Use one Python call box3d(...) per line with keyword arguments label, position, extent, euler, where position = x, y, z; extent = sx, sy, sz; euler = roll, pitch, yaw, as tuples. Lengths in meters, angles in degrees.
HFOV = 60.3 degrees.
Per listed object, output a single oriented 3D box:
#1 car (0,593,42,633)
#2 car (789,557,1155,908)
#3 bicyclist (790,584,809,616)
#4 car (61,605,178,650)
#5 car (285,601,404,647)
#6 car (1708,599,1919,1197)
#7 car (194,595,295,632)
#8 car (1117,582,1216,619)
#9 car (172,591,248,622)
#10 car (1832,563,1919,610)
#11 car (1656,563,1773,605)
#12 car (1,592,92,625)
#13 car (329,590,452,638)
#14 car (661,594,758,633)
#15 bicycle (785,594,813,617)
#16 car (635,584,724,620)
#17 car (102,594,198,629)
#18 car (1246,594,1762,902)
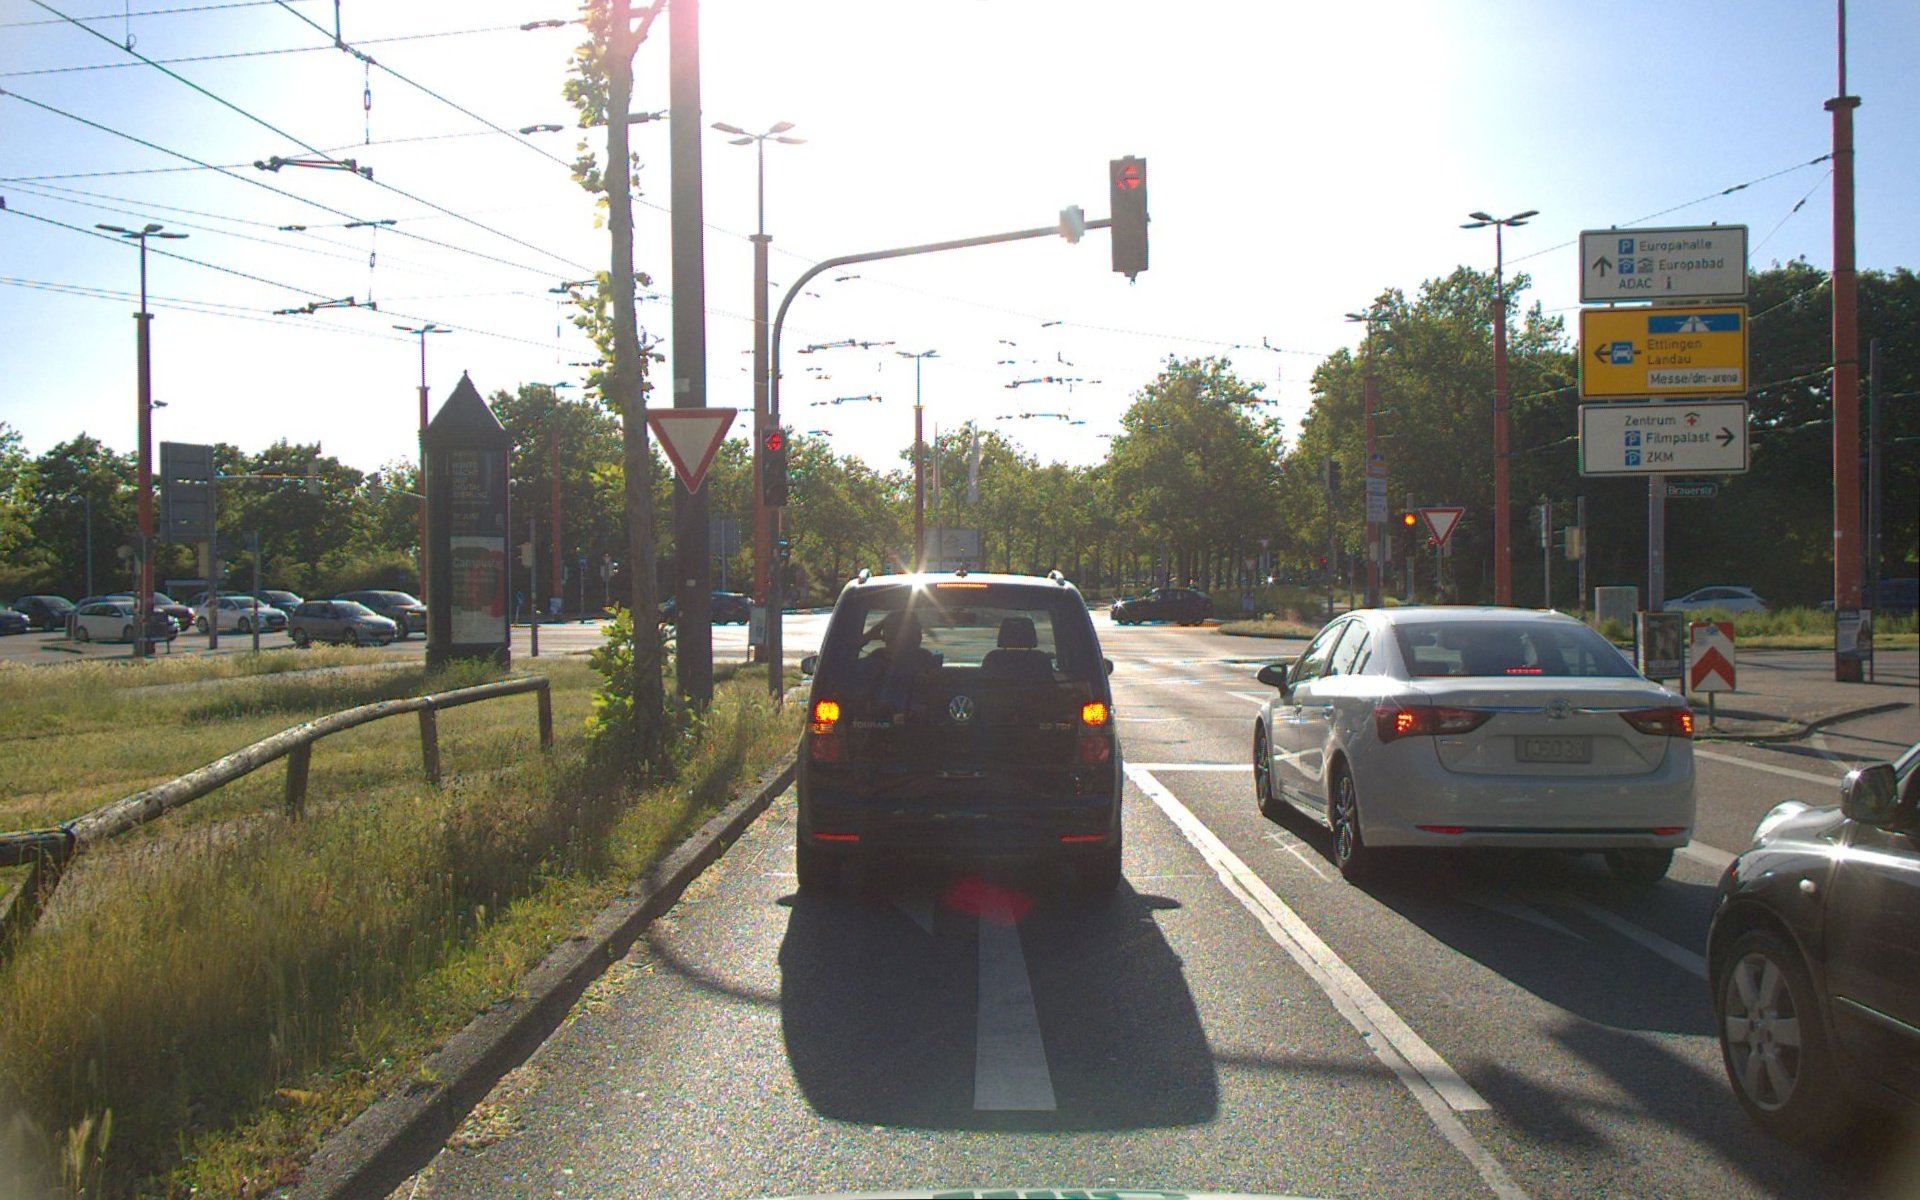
box3d(label="car", position=(-41.503, 0.523, 70.809), extent=(4.541, 1.676, 1.753), euler=(0, 0, 30))
box3d(label="car", position=(0.070, 0.634, 9.968), extent=(1.703, 1.630, 4.326), euler=(1, 0, 0))
box3d(label="bicyclist", position=(-10.053, 0.000, 103.529), extent=(0.955, 1.937, 1.051), euler=(0, 0, 12))
box3d(label="car", position=(-31.162, 0.999, 61.278), extent=(4.536, 1.546, 1.654), euler=(0, 0, 30))
box3d(label="car", position=(-20.591, 0.788, 55.351), extent=(3.755, 1.466, 1.655), euler=(0, 0, 27))
box3d(label="car", position=(3.139, 0.741, 3.494), extent=(1.544, 1.465, 3.441), euler=(1, 0, 0))
box3d(label="car", position=(-29.401, 0.528, 67.932), extent=(4.060, 1.440, 1.542), euler=(0, 0, 26))
box3d(label="car", position=(8.686, 0.008, 69.606), extent=(3.838, 1.483, 1.655), euler=(0, 0, 27))
box3d(label="car", position=(-43.505, 0.368, 95.925), extent=(4.034, 1.780, 1.656), euler=(0, 0, 22))
box3d(label="car", position=(30.997, -0.457, 54.789), extent=(3.718, 1.537, 1.654), euler=(0, 0, 28))
box3d(label="car", position=(27.456, -0.583, 60.254), extent=(3.837, 1.483, 1.655), euler=(0, 0, 26))
box3d(label="car", position=(-40.868, 0.363, 74.001), extent=(4.060, 1.440, 1.542), euler=(0, 0, 26))
box3d(label="car", position=(-20.658, 0.478, 59.927), extent=(4.541, 1.676, 1.654), euler=(0, 0, 30))
box3d(label="car", position=(-11.392, 0.582, 75.137), extent=(4.119, 1.710, 1.656), euler=(0, 0, 24))
box3d(label="bicycle", position=(-10.060, 0.340, 103.488), extent=(0.955, 1.413, 2.982), euler=(0, 0, 12))
box3d(label="car", position=(-13.740, 0.068, 80.962), extent=(4.120, 1.710, 1.655), euler=(0, 0, 26))
box3d(label="car", position=(-34.587, 0.458, 70.619), extent=(4.060, 1.440, 1.542), euler=(0, 0, 26))
box3d(label="car", position=(3.018, 0.728, 10.190), extent=(1.762, 1.465, 4.326), euler=(1, 0, 0))
